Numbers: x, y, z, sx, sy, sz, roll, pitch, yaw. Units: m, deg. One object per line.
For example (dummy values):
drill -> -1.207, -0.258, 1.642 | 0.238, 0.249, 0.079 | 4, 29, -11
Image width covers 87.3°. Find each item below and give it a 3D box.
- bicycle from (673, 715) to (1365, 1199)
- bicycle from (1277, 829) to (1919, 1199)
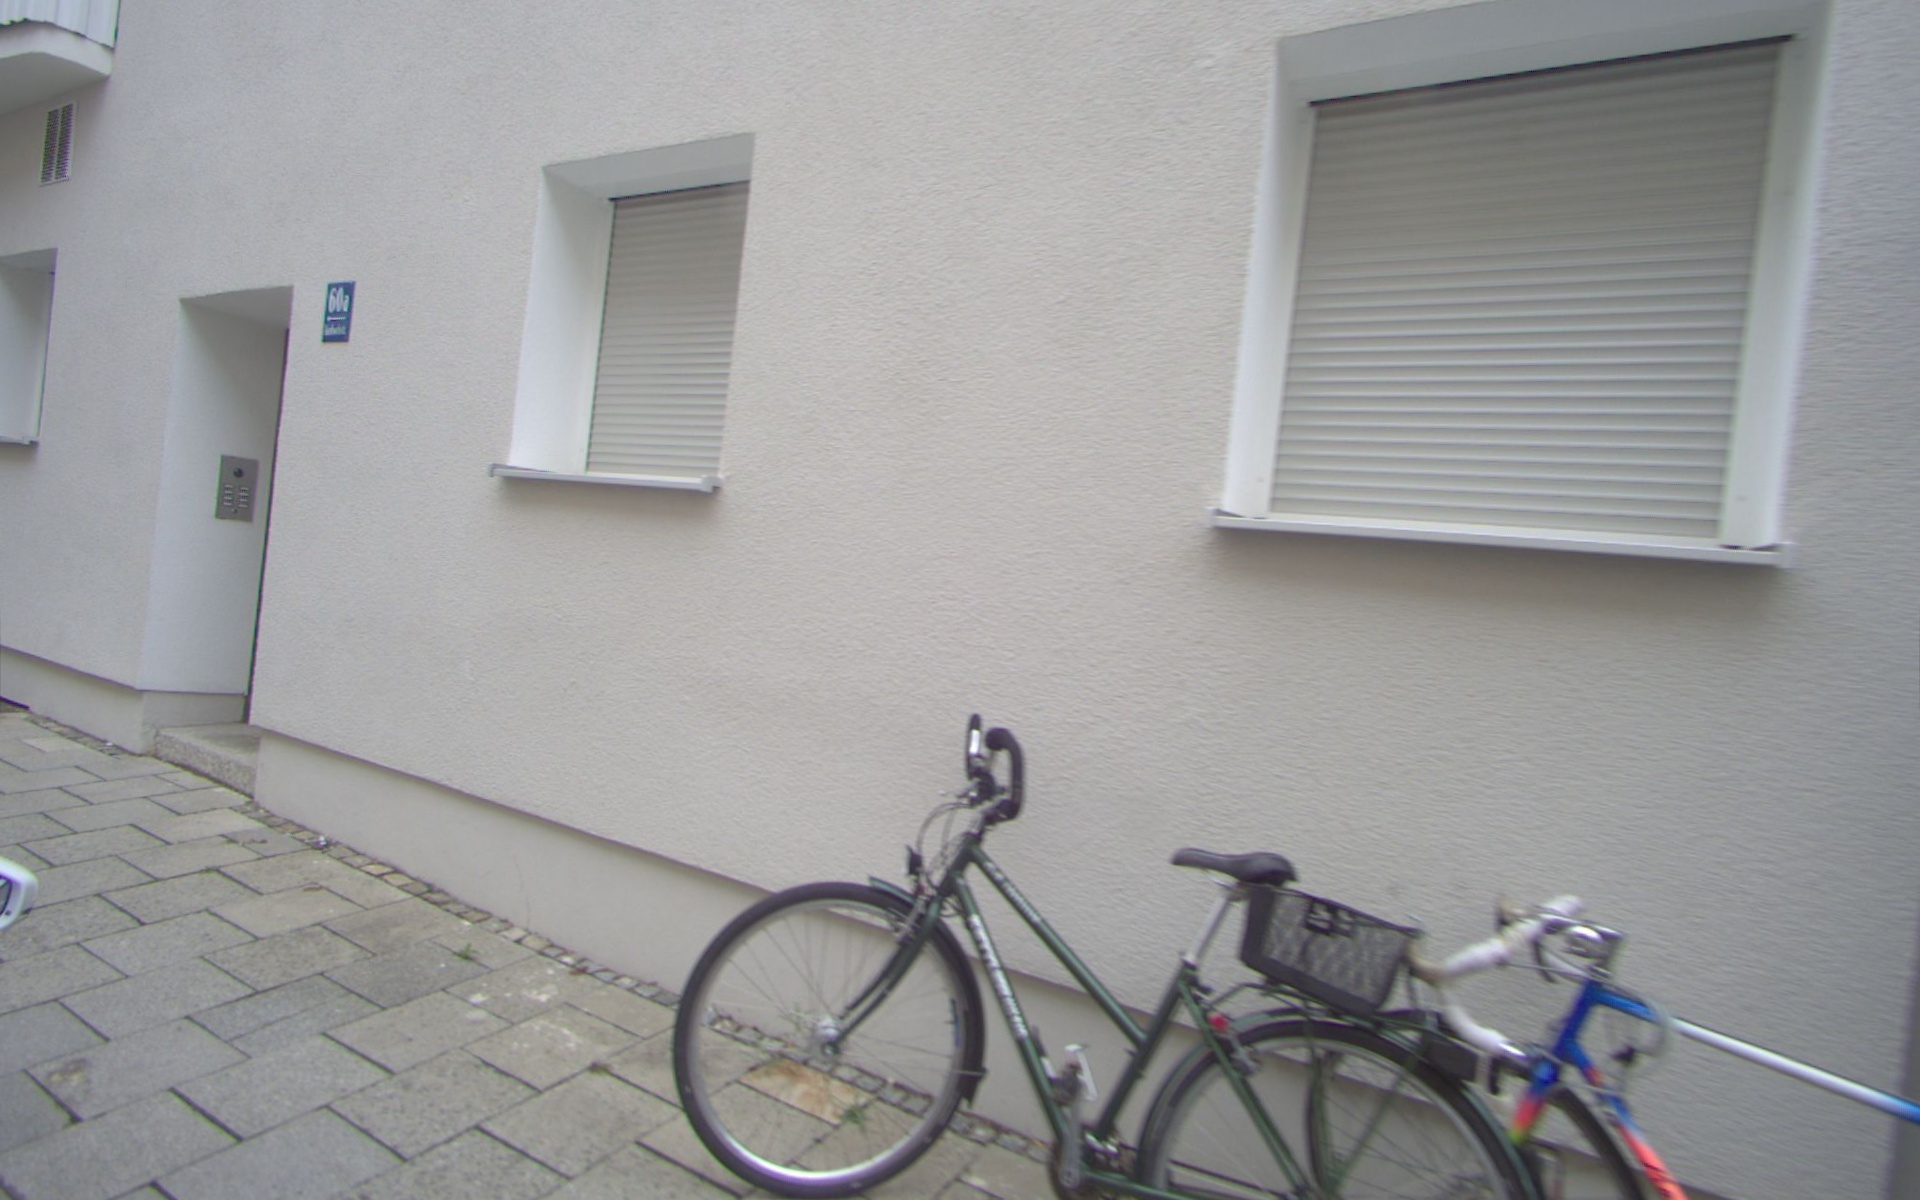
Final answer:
bicycle -> 0.093, 0.854, 2.123 | 1.304, 1.005, 0.404 | 6, 4, 21
bicycle -> 1.164, 0.998, 1.353 | 1.414, 1.005, 0.280 | 8, 5, 43
